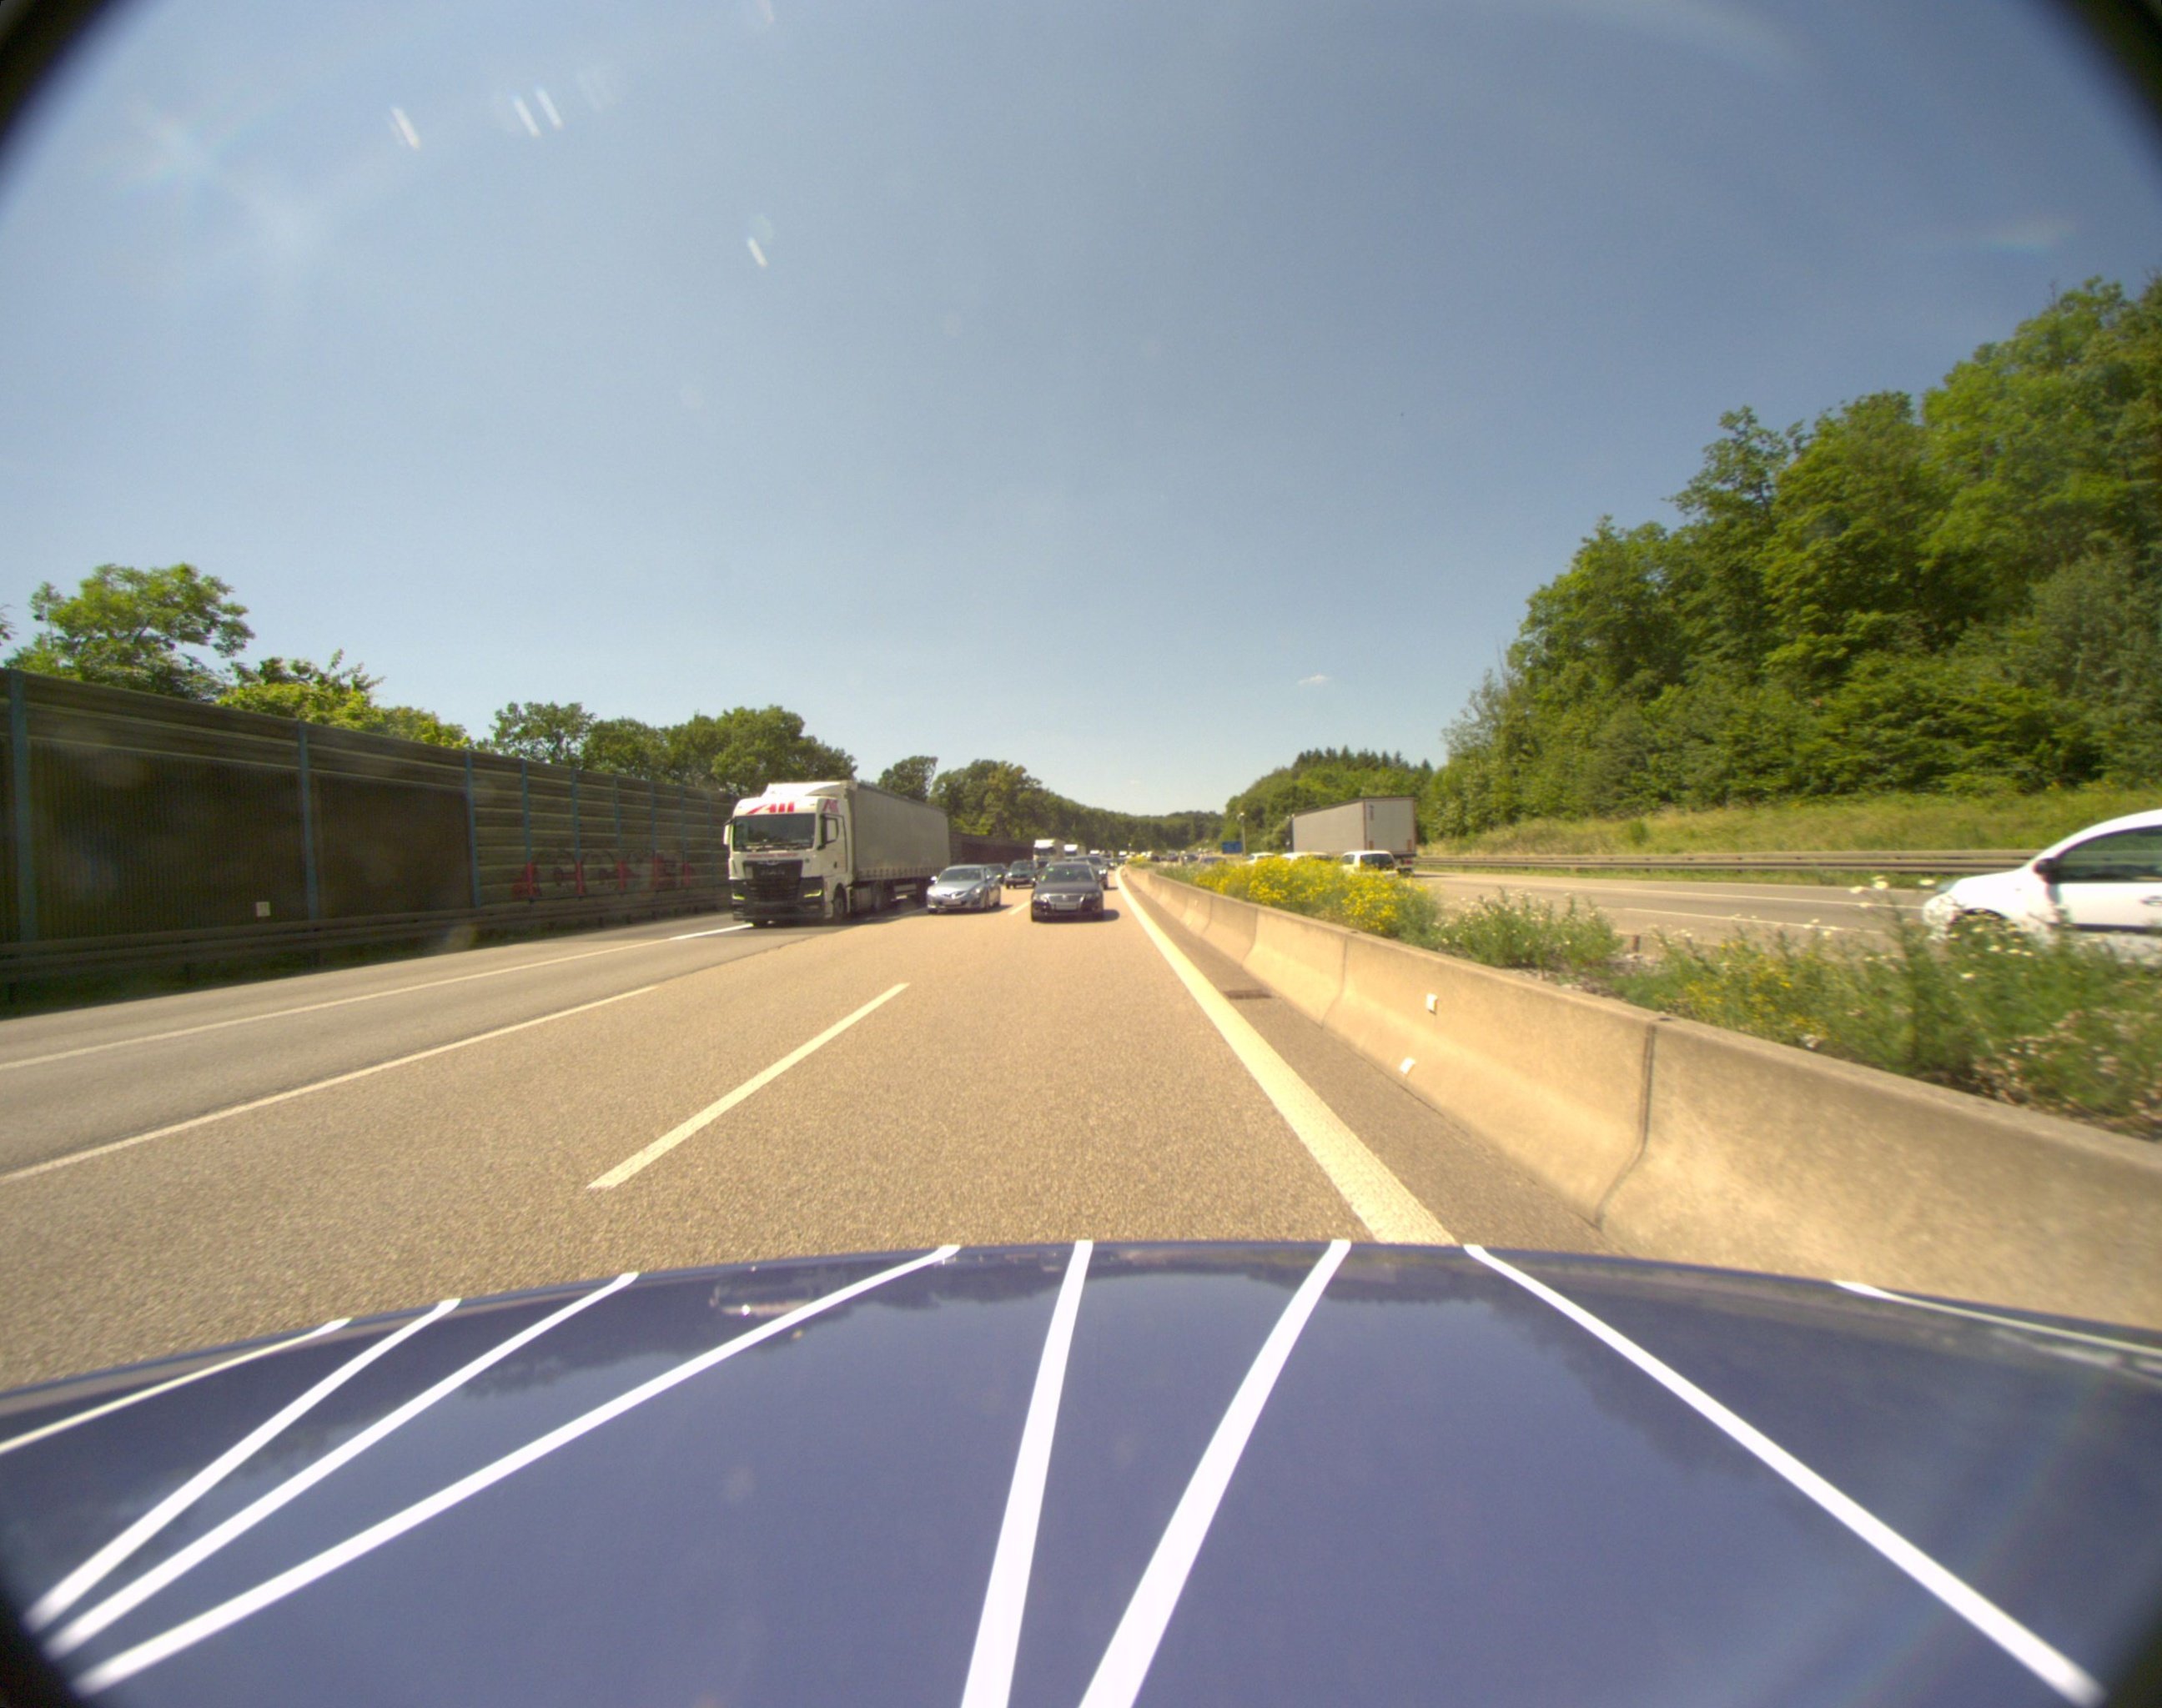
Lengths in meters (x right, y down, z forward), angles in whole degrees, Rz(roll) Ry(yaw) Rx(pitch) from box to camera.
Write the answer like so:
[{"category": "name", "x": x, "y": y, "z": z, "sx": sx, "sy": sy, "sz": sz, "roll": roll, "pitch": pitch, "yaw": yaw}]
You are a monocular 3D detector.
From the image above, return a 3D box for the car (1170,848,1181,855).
[{"category": "car", "x": 19.485, "y": -0.448, "z": 156.956, "sx": 1.817, "sy": 1.393, "sz": 4.272, "roll": -2, "pitch": 0, "yaw": 2}]

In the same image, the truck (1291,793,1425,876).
[{"category": "truck", "x": 15.337, "y": -0.931, "z": 43.685, "sx": 2.836, "sy": 3.916, "sz": 13.745, "roll": -2, "pitch": 0, "yaw": 1}]

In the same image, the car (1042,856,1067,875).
[{"category": "car", "x": -2.422, "y": 1.028, "z": 69.892, "sx": 1.998, "sy": 1.641, "sz": 4.000, "roll": -2, "pitch": 0, "yaw": 1}]

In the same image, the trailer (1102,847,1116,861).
[{"category": "trailer", "x": 8.232, "y": 0.051, "z": 225.554, "sx": 3.153, "sy": 4.061, "sz": 6.187, "roll": -2, "pitch": 0, "yaw": 11}]

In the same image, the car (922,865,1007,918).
[{"category": "car", "x": -3.563, "y": 1.103, "z": 24.033, "sx": 1.860, "sy": 1.426, "sz": 4.177, "roll": -2, "pitch": 0, "yaw": 2}]

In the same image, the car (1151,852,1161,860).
[{"category": "car", "x": 16.330, "y": 0.433, "z": 165.661, "sx": 1.998, "sy": 1.713, "sz": 4.357, "roll": -2, "pitch": 0, "yaw": 2}]

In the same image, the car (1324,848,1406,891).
[{"category": "car", "x": 10.760, "y": 0.557, "z": 29.080, "sx": 1.679, "sy": 1.489, "sz": 3.883, "roll": -2, "pitch": 0, "yaw": 1}]

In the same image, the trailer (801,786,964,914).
[{"category": "trailer", "x": -7.500, "y": -0.162, "z": 31.471, "sx": 2.604, "sy": 4.066, "sz": 13.592, "roll": -2, "pitch": 0, "yaw": 2}]

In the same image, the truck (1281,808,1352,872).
[{"category": "truck", "x": 15.494, "y": -0.885, "z": 50.399, "sx": 2.836, "sy": 3.916, "sz": 6.007, "roll": -2, "pitch": 0, "yaw": 1}]

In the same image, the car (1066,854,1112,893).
[{"category": "car", "x": 0.418, "y": 0.846, "z": 35.646, "sx": 1.998, "sy": 1.641, "sz": 4.000, "roll": -2, "pitch": 0, "yaw": 2}]

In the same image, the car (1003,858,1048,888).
[{"category": "car", "x": -3.045, "y": 1.029, "z": 42.770, "sx": 1.907, "sy": 1.550, "sz": 4.001, "roll": -2, "pitch": 0, "yaw": 4}]

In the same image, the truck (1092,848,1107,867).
[{"category": "truck", "x": 4.690, "y": 0.879, "z": 190.935, "sx": 2.852, "sy": 4.381, "sz": 5.242, "roll": -2, "pitch": 0, "yaw": 8}]

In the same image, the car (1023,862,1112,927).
[{"category": "car", "x": -0.240, "y": 0.978, "z": 19.776, "sx": 1.907, "sy": 1.410, "sz": 4.001, "roll": -2, "pitch": 0, "yaw": 4}]

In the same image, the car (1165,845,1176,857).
[{"category": "car", "x": 21.821, "y": -0.697, "z": 185.237, "sx": 2.221, "sy": 2.685, "sz": 6.063, "roll": -2, "pitch": 0, "yaw": 3}]

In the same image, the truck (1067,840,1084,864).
[{"category": "truck", "x": -0.918, "y": -0.368, "z": 134.649, "sx": 2.545, "sy": 4.149, "sz": 4.747, "roll": -2, "pitch": 0, "yaw": 4}]

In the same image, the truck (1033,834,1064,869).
[{"category": "truck", "x": -4.054, "y": -0.294, "z": 96.609, "sx": 2.810, "sy": 4.190, "sz": 5.424, "roll": -2, "pitch": 0, "yaw": 7}]

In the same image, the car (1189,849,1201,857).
[{"category": "car", "x": 22.883, "y": -0.252, "z": 152.294, "sx": 1.844, "sy": 1.444, "sz": 4.001, "roll": -2, "pitch": 0, "yaw": 2}]

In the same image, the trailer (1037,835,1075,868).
[{"category": "trailer", "x": -3.197, "y": -0.306, "z": 103.183, "sx": 2.820, "sy": 4.190, "sz": 13.472, "roll": -2, "pitch": 0, "yaw": 7}]

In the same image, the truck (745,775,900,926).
[{"category": "truck", "x": -7.736, "y": -0.101, "z": 23.559, "sx": 2.604, "sy": 4.066, "sz": 5.553, "roll": -2, "pitch": 0, "yaw": 2}]

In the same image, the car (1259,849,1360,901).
[{"category": "car", "x": 7.343, "y": 0.615, "z": 24.933, "sx": 1.943, "sy": 1.494, "sz": 4.659, "roll": -2, "pitch": 0, "yaw": 1}]

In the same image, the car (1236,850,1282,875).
[{"category": "car", "x": 11.301, "y": 0.528, "z": 48.464, "sx": 1.998, "sy": 1.489, "sz": 4.247, "roll": -2, "pitch": 0, "yaw": 1}]

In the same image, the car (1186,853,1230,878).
[{"category": "car", "x": 7.601, "y": 0.667, "z": 45.929, "sx": 1.998, "sy": 1.333, "sz": 4.247, "roll": -2, "pitch": 0, "yaw": 1}]

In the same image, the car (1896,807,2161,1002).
[{"category": "car", "x": 10.594, "y": 0.423, "z": 6.859, "sx": 1.889, "sy": 1.745, "sz": 4.277, "roll": -2, "pitch": 0, "yaw": 1}]

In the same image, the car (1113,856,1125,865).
[{"category": "car", "x": 6.938, "y": 1.142, "z": 138.995, "sx": 1.997, "sy": 1.641, "sz": 4.002, "roll": -2, "pitch": 0, "yaw": 6}]

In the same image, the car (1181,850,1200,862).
[{"category": "car", "x": 14.635, "y": 0.253, "z": 101.987, "sx": 1.998, "sy": 1.618, "sz": 4.474, "roll": -2, "pitch": 0, "yaw": 2}]

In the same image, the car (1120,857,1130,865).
[{"category": "car", "x": 9.840, "y": 1.517, "z": 169.570, "sx": 1.997, "sy": 1.641, "sz": 4.002, "roll": -2, "pitch": 0, "yaw": 6}]

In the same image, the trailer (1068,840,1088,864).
[{"category": "trailer", "x": -0.505, "y": -0.263, "z": 139.252, "sx": 2.541, "sy": 4.149, "sz": 10.180, "roll": -2, "pitch": 0, "yaw": 5}]
